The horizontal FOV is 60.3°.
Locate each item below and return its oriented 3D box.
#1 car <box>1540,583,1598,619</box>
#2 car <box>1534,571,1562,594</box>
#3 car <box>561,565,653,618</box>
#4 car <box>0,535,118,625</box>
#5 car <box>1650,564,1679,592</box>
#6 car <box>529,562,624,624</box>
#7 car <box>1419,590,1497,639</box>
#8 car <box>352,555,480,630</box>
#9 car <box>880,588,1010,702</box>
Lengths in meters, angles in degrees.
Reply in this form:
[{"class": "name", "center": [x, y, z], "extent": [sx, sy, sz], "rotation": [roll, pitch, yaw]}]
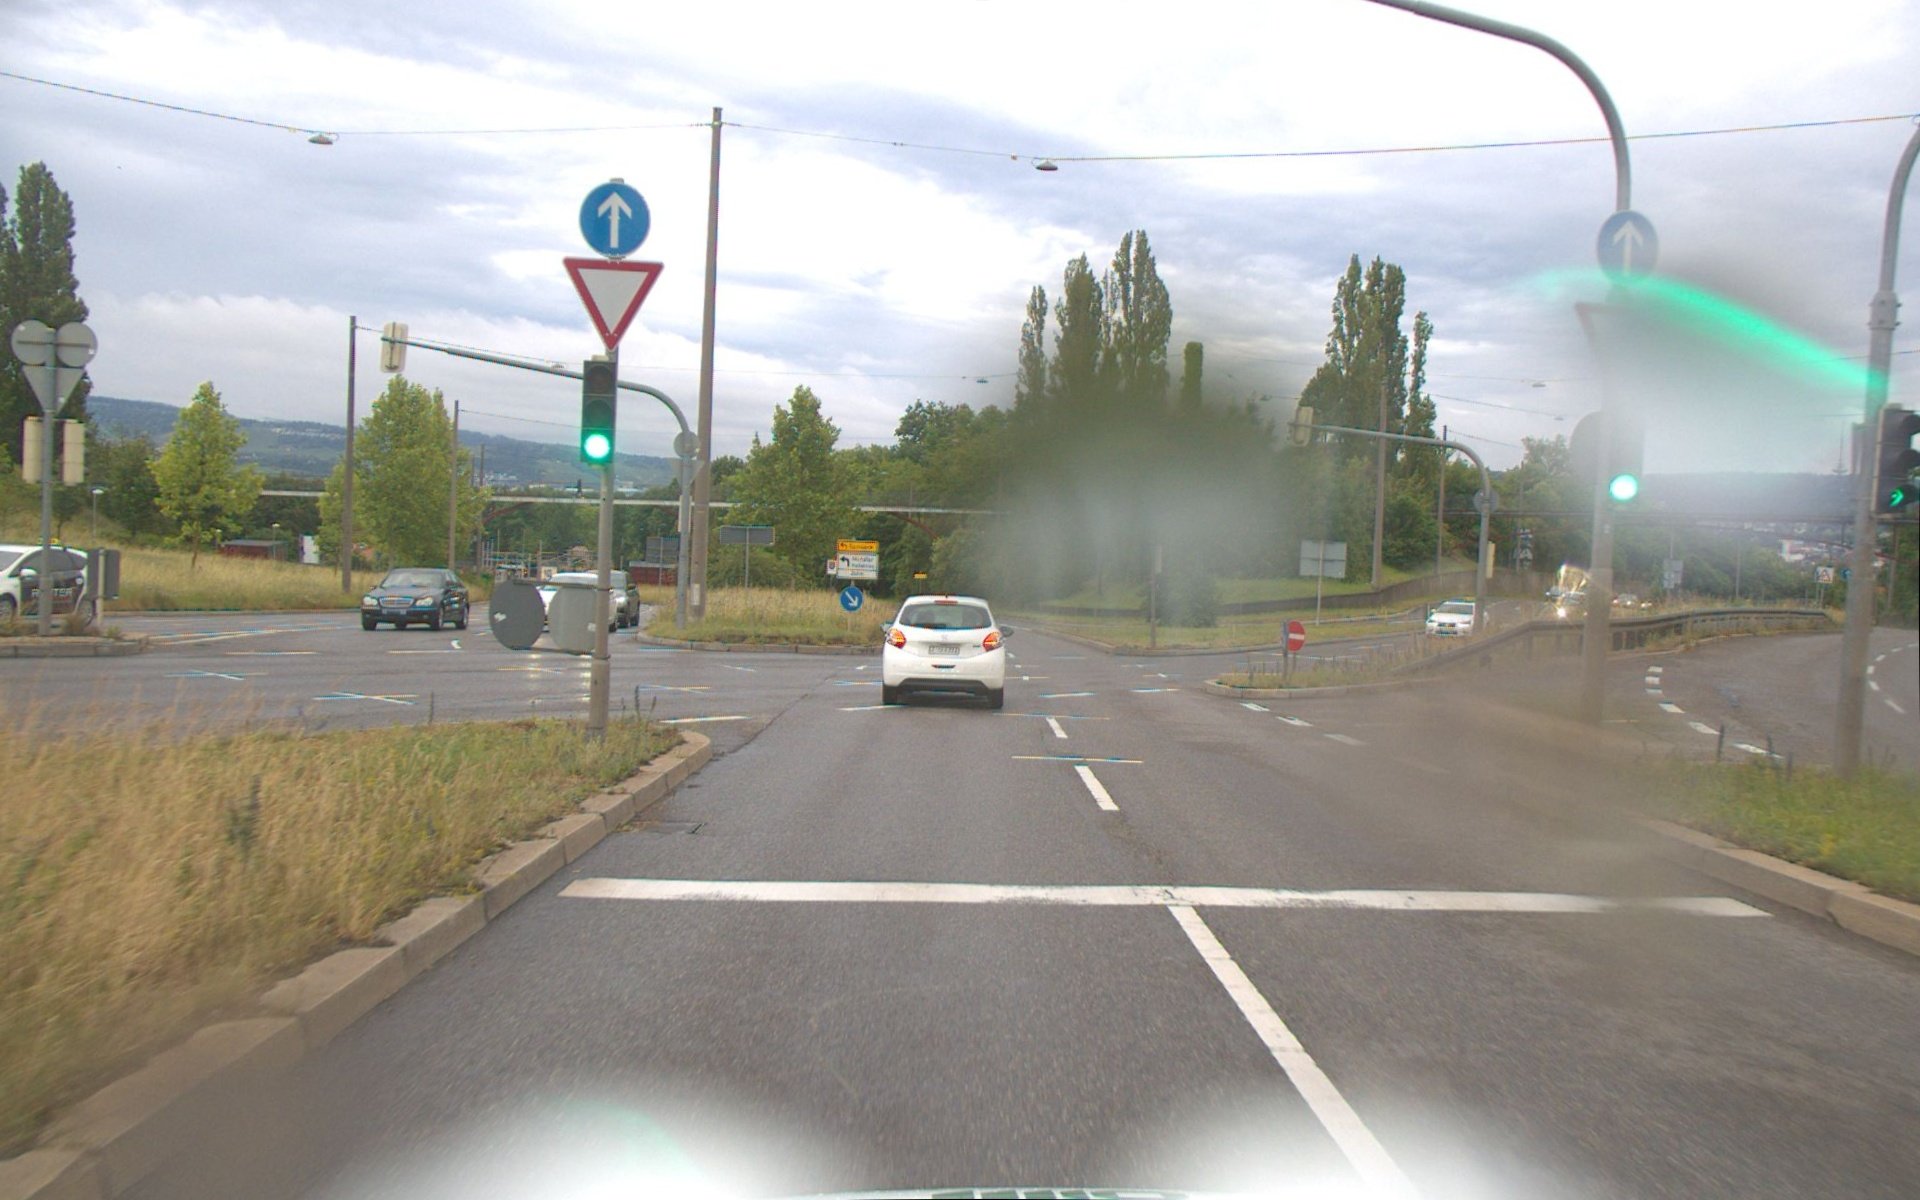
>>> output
[{"class": "car", "center": [32.237, 0.004, 87.450], "extent": [1.958, 1.645, 4.362], "rotation": [5, 4, 31]}, {"class": "car", "center": [50.922, -1.533, 143.270], "extent": [1.841, 1.682, 4.124], "rotation": [4, 4, 24]}, {"class": "car", "center": [-10.145, -0.280, 47.781], "extent": [1.857, 1.347, 3.999], "rotation": [3, 2, -2]}, {"class": "car", "center": [-18.437, -0.396, 31.921], "extent": [1.847, 1.639, 4.676], "rotation": [3, -1, 1]}, {"class": "car", "center": [59.041, -1.858, 138.667], "extent": [2.033, 2.119, 4.370], "rotation": [4, 4, 24]}, {"class": "car", "center": [-9.423, -0.146, 40.887], "extent": [1.704, 1.397, 3.995], "rotation": [2, -1, -5]}, {"class": "car", "center": [19.835, 0.540, 65.834], "extent": [1.958, 1.645, 3.991], "rotation": [5, 4, 31]}, {"class": "car", "center": [-12.517, -0.128, 38.306], "extent": [1.858, 1.564, 3.996], "rotation": [3, -1, -5]}, {"class": "car", "center": [-0.200, 0.603, 23.493], "extent": [1.673, 1.465, 3.690], "rotation": [1, -1, 0]}]
